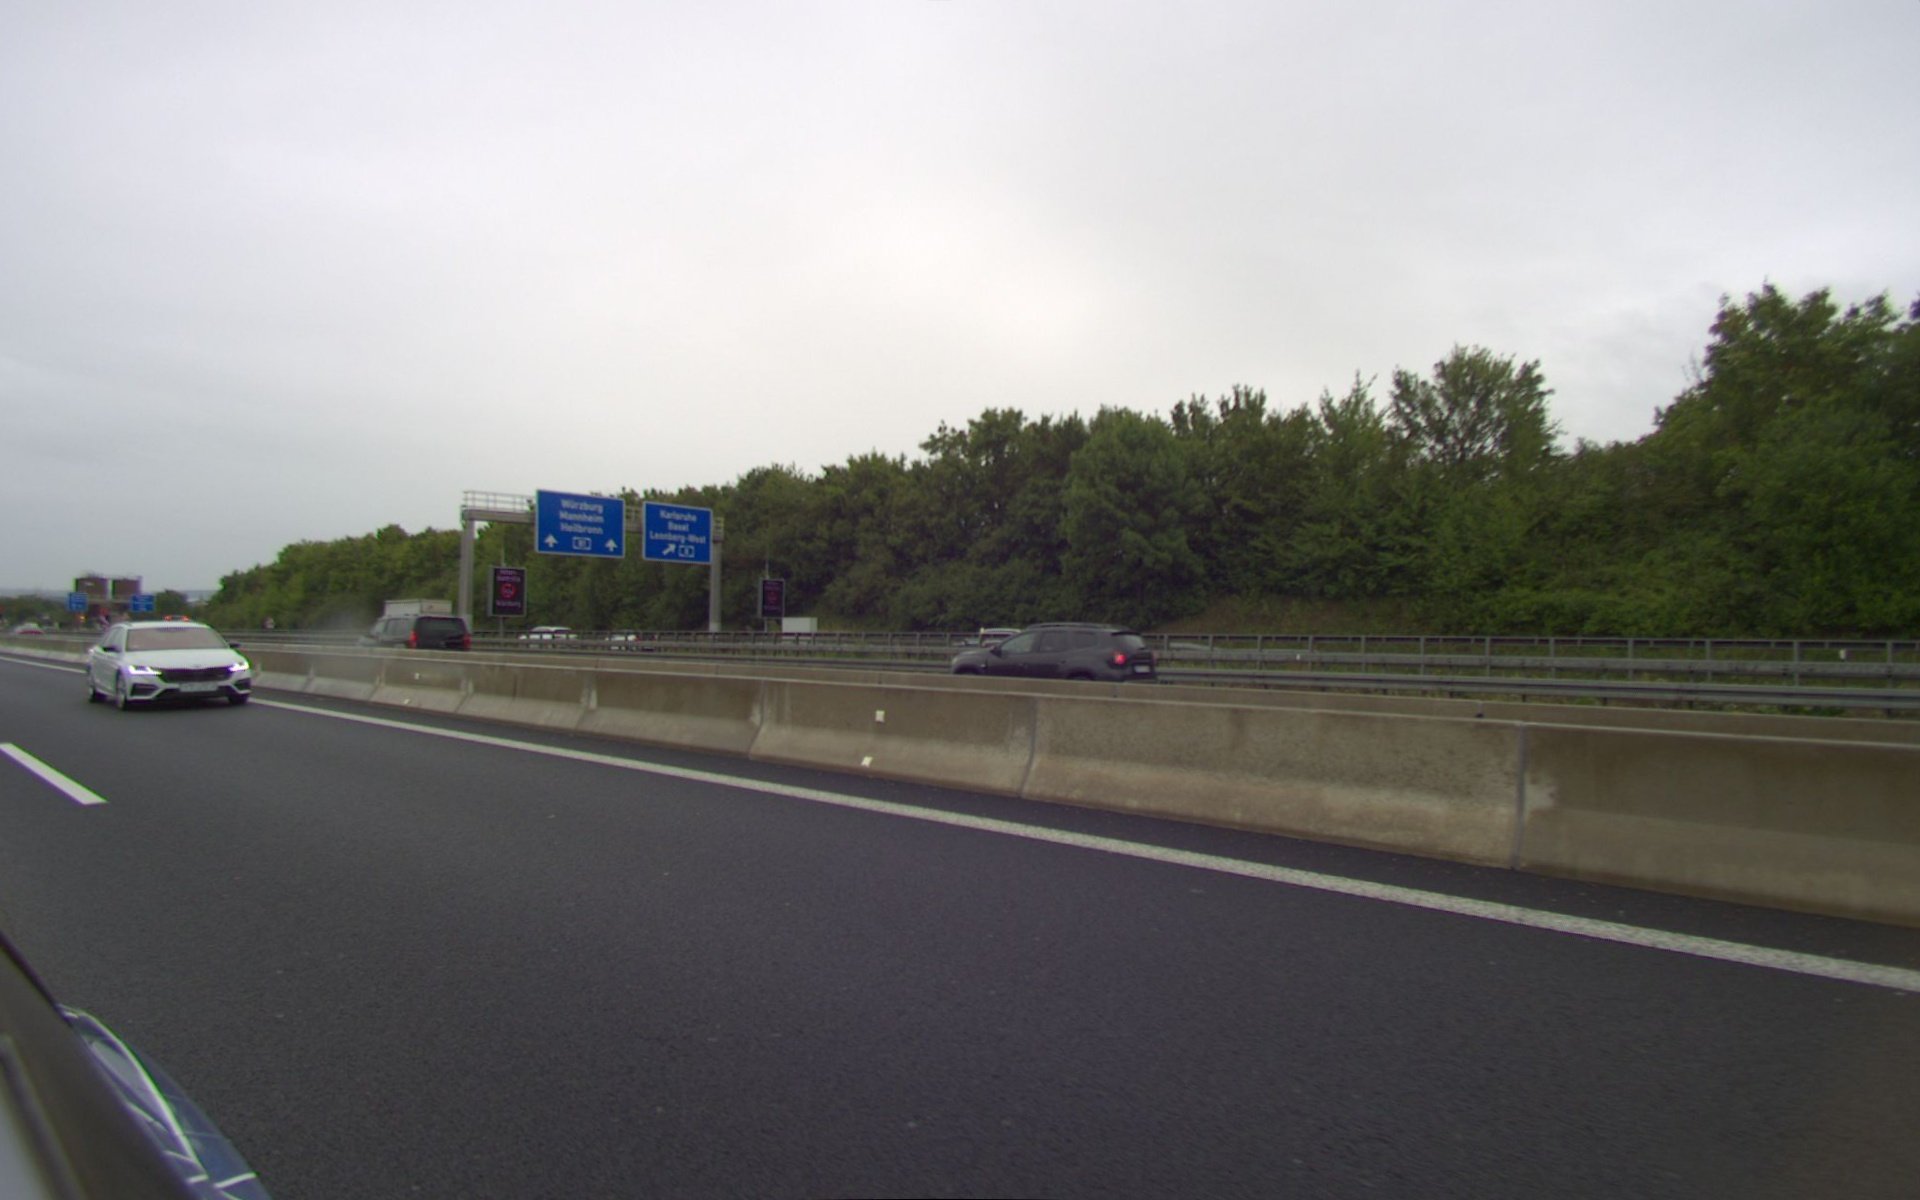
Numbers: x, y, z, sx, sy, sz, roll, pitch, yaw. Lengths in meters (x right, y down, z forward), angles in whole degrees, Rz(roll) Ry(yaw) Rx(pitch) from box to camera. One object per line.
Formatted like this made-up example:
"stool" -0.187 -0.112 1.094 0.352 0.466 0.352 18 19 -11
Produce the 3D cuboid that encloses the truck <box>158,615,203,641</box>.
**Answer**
"truck" -98.336 3.495 127.563 9.074 3.245 2.821 -1 -1 41

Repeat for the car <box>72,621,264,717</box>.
"car" -14.194 1.127 18.024 4.774 1.467 1.800 -1 -1 41

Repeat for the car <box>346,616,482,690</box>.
"car" -16.530 1.515 30.526 4.979 2.029 1.973 -1 -1 41

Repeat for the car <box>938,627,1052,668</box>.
"car" 1.365 1.874 40.864 4.471 1.504 1.800 -1 -1 40

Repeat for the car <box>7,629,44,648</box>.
"car" -76.190 3.114 82.513 4.416 1.467 1.738 -1 -1 41

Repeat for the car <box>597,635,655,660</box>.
"car" -21.202 2.991 64.157 3.998 1.467 1.658 -1 -1 41

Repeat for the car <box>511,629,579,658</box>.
"car" -23.320 2.404 56.783 4.630 1.467 1.658 -1 -1 41

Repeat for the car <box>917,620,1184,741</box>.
"car" 1.639 1.424 19.731 4.979 2.029 1.973 -1 -1 41

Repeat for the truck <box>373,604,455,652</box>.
"truck" -46.557 2.313 86.140 9.630 3.908 3.042 -1 -1 41
